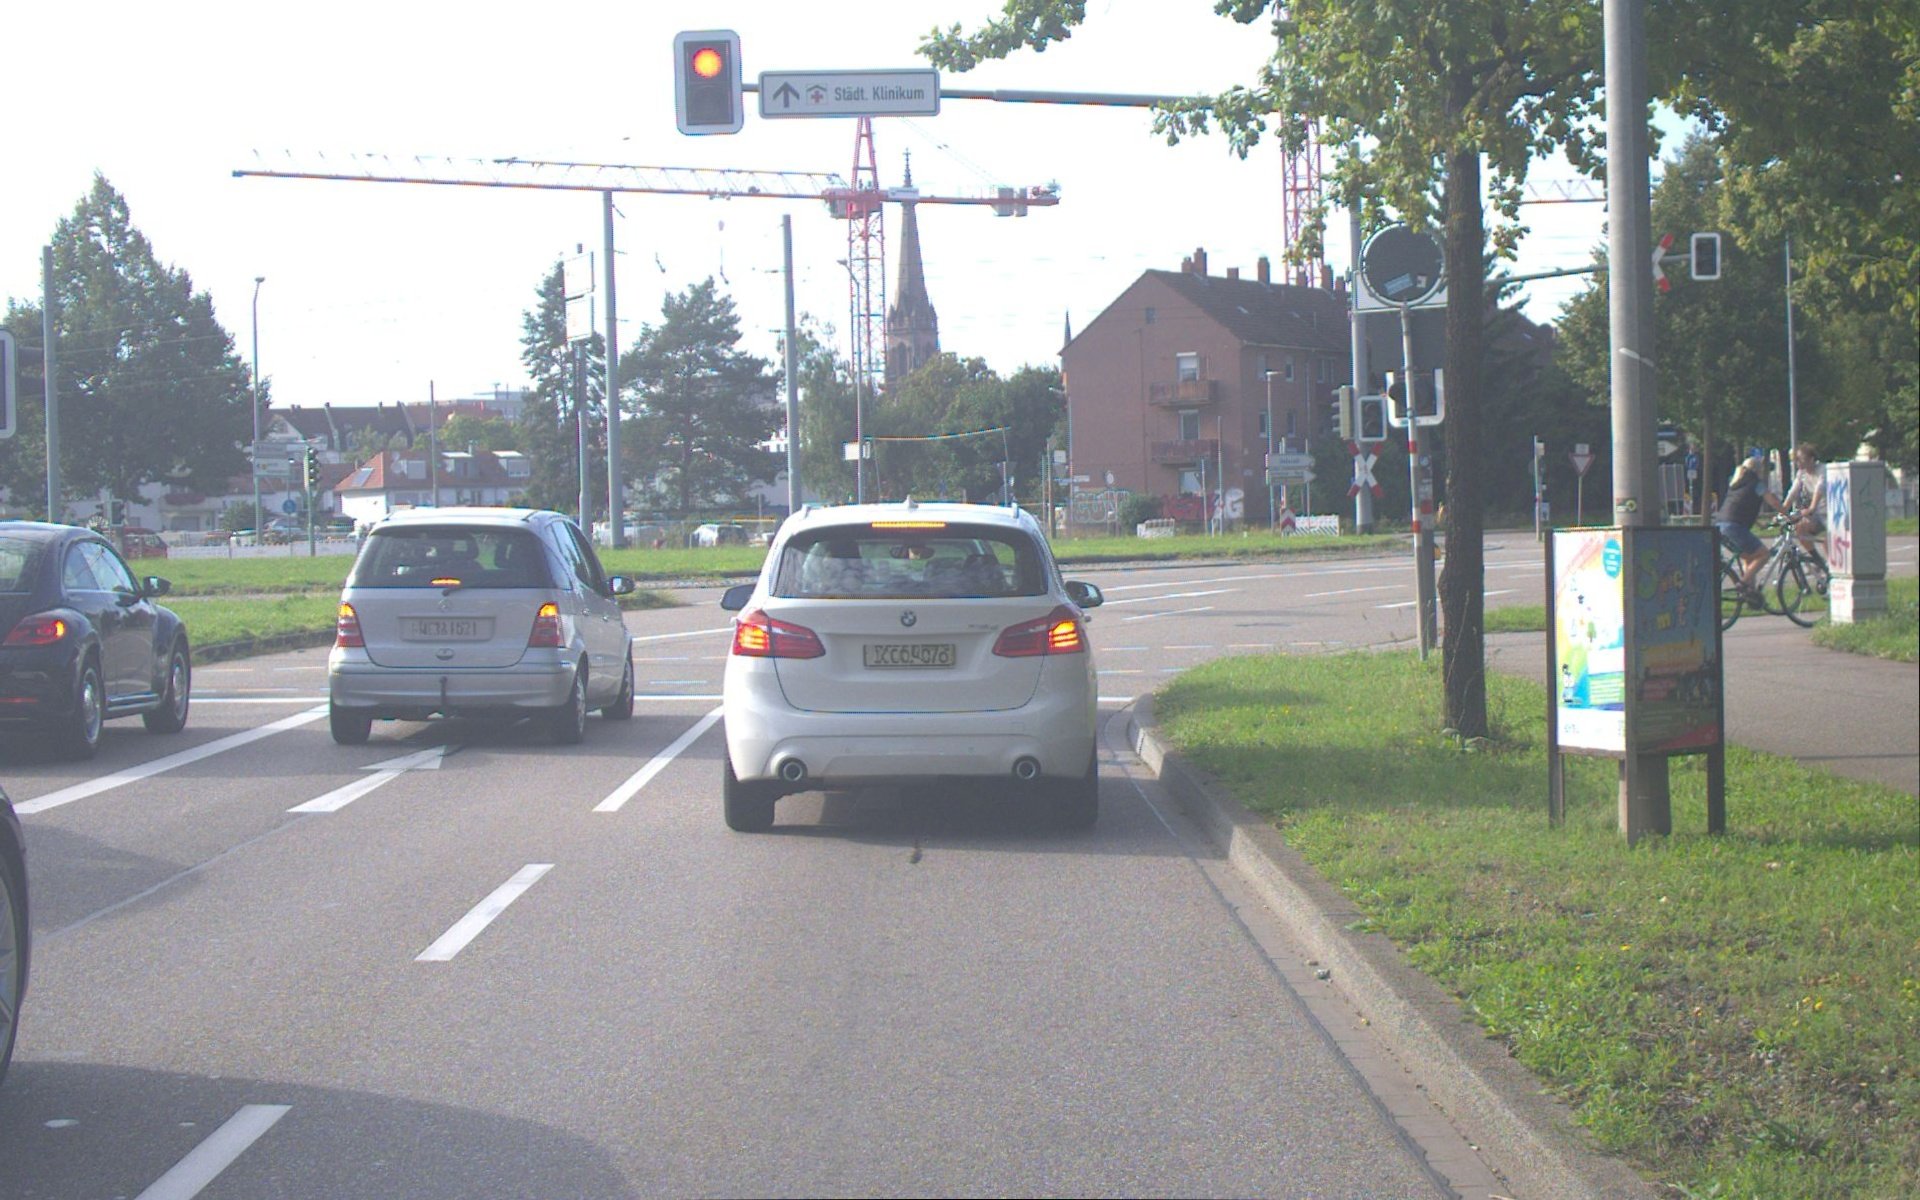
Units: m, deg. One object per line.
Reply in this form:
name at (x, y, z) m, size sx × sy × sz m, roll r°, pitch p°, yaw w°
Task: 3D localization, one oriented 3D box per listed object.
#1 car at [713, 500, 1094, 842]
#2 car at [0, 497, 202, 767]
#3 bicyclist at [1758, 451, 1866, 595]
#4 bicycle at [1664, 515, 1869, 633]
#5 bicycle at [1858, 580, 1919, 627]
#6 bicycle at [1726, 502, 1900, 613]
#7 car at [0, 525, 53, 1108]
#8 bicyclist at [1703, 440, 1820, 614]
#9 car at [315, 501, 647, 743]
car at (-0.284, 0.270, 17.647) m, size 1.729 × 1.553 × 4.058 m, roll 0°, pitch 1°, yaw -1°
car at (-6.169, 0.129, 22.161) m, size 1.721 × 1.559 × 3.878 m, roll 0°, pitch 2°, yaw 0°
bicyclist at (9.265, -0.839, 37.396) m, size 0.848 × 1.521 × 0.741 m, roll -2°, pitch 1°, yaw -17°
bicycle at (7.879, -0.261, 33.605) m, size 1.770 × 1.046 × 0.711 m, roll -3°, pitch 1°, yaw -12°
bicycle at (9.338, 0.029, 30.991) m, size 1.407 × 0.384 × 2.577 m, roll -2°, pitch 1°, yaw -12°
bicycle at (9.286, -0.466, 37.415) m, size 1.724 × 1.159 × 0.656 m, roll -2°, pitch 1°, yaw -16°
car at (-3.358, 0.583, 6.934) m, size 1.890 × 1.478 × 4.613 m, roll 0°, pitch 1°, yaw -1°
bicyclist at (7.828, -0.712, 33.581) m, size 0.829 × 1.642 × 0.686 m, roll -3°, pitch 1°, yaw -12°
car at (-3.268, 0.087, 24.137) m, size 1.729 × 1.553 × 4.058 m, roll 0°, pitch 1°, yaw 1°
